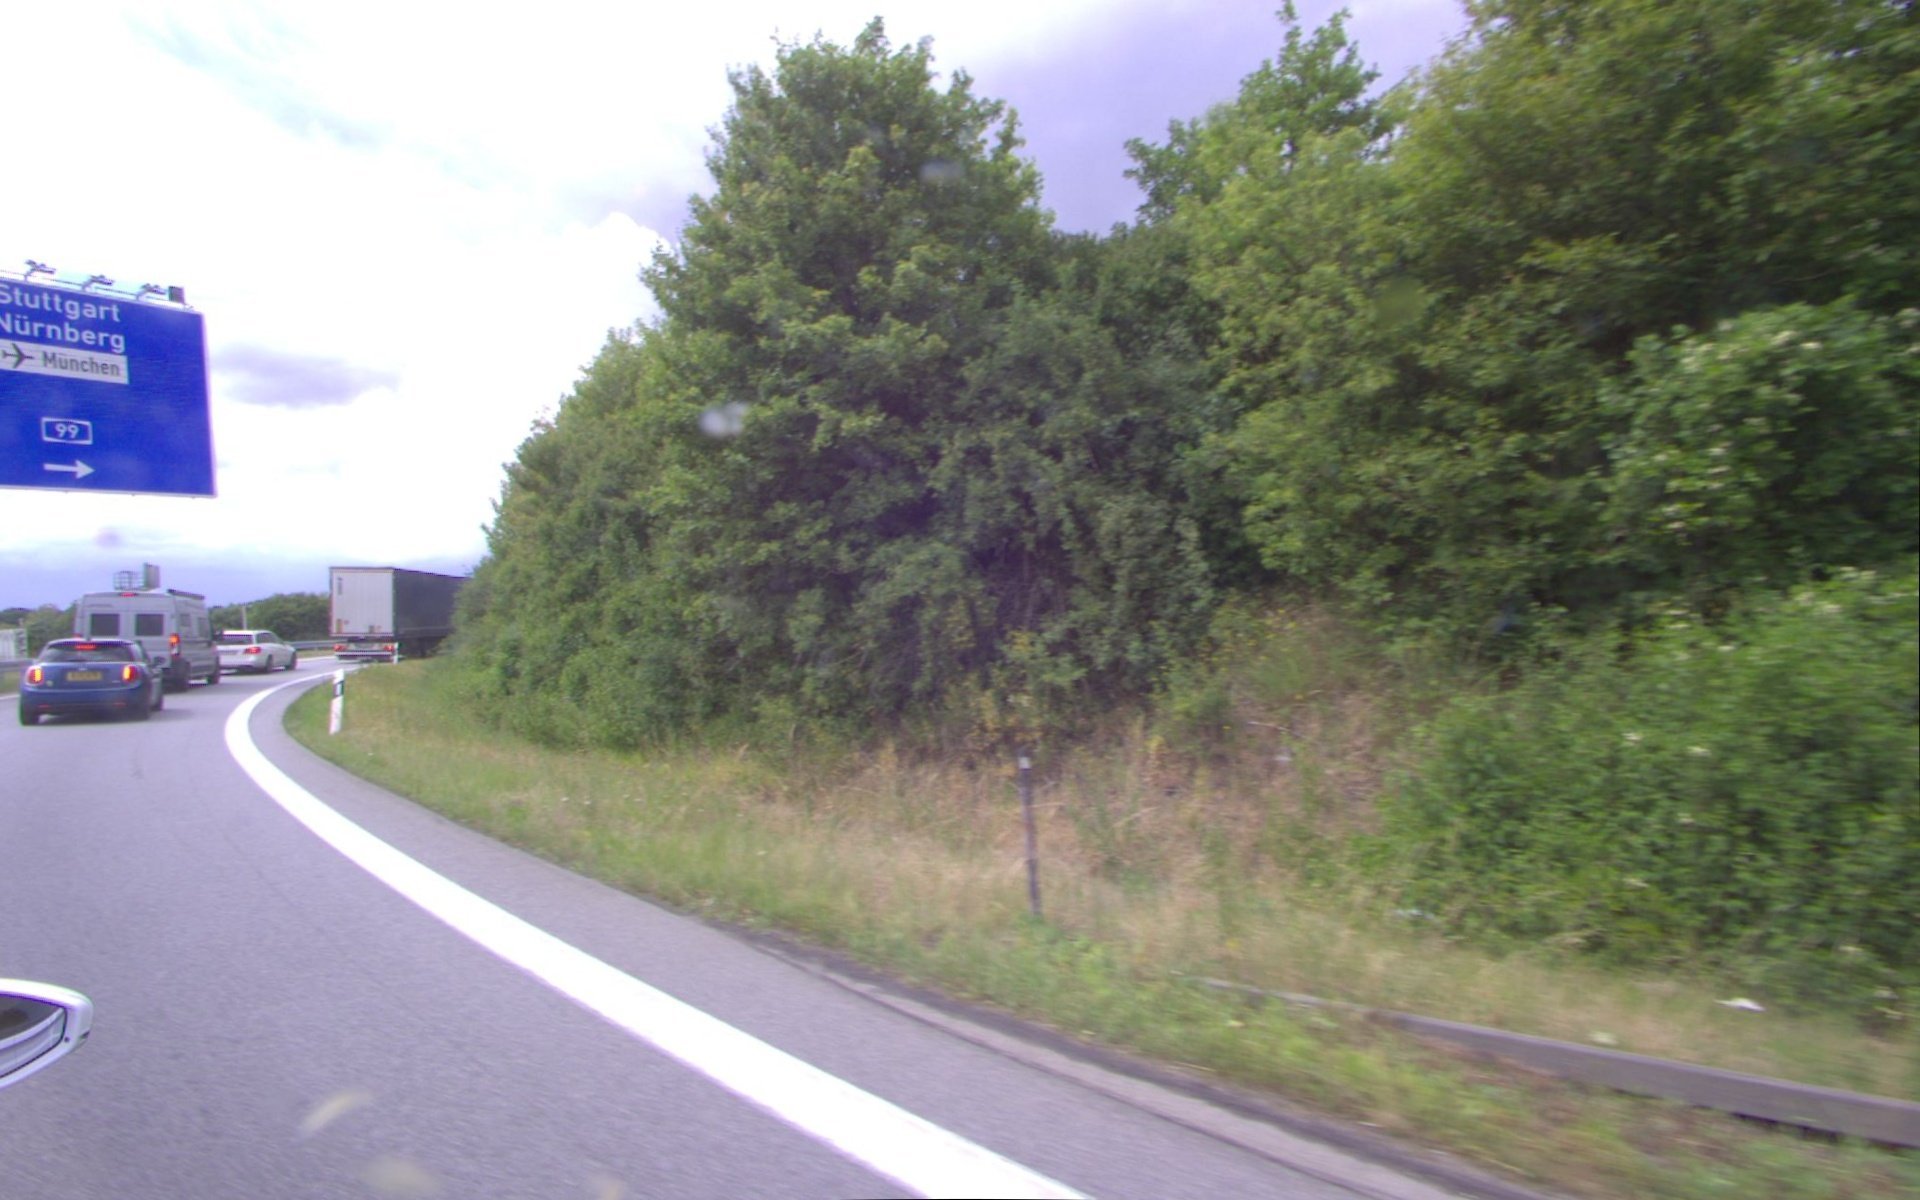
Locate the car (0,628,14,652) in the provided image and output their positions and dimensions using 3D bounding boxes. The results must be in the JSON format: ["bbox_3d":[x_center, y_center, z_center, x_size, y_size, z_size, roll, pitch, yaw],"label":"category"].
[{"bbox_3d":[-73.754,3.012,74.782,4.165,1.795,2.000,-1,-1,-7],"label":"car"}]

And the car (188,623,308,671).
[{"bbox_3d":[-25.030,1.596,35.428,2.175,1.521,4.776,-1,-1,-20],"label":"car"}]

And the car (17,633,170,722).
[{"bbox_3d":[-15.822,1.349,18.455,1.712,1.437,3.642,0,-2,-34],"label":"car"}]

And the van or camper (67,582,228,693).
[{"bbox_3d":[-21.479,0.923,26.797,2.267,2.602,6.131,-1,0,-29],"label":"van or camper"}]

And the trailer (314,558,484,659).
[{"bbox_3d":[-26.765,0.481,48.767,3.279,4.247,13.023,0,-1,-11],"label":"trailer"}]
